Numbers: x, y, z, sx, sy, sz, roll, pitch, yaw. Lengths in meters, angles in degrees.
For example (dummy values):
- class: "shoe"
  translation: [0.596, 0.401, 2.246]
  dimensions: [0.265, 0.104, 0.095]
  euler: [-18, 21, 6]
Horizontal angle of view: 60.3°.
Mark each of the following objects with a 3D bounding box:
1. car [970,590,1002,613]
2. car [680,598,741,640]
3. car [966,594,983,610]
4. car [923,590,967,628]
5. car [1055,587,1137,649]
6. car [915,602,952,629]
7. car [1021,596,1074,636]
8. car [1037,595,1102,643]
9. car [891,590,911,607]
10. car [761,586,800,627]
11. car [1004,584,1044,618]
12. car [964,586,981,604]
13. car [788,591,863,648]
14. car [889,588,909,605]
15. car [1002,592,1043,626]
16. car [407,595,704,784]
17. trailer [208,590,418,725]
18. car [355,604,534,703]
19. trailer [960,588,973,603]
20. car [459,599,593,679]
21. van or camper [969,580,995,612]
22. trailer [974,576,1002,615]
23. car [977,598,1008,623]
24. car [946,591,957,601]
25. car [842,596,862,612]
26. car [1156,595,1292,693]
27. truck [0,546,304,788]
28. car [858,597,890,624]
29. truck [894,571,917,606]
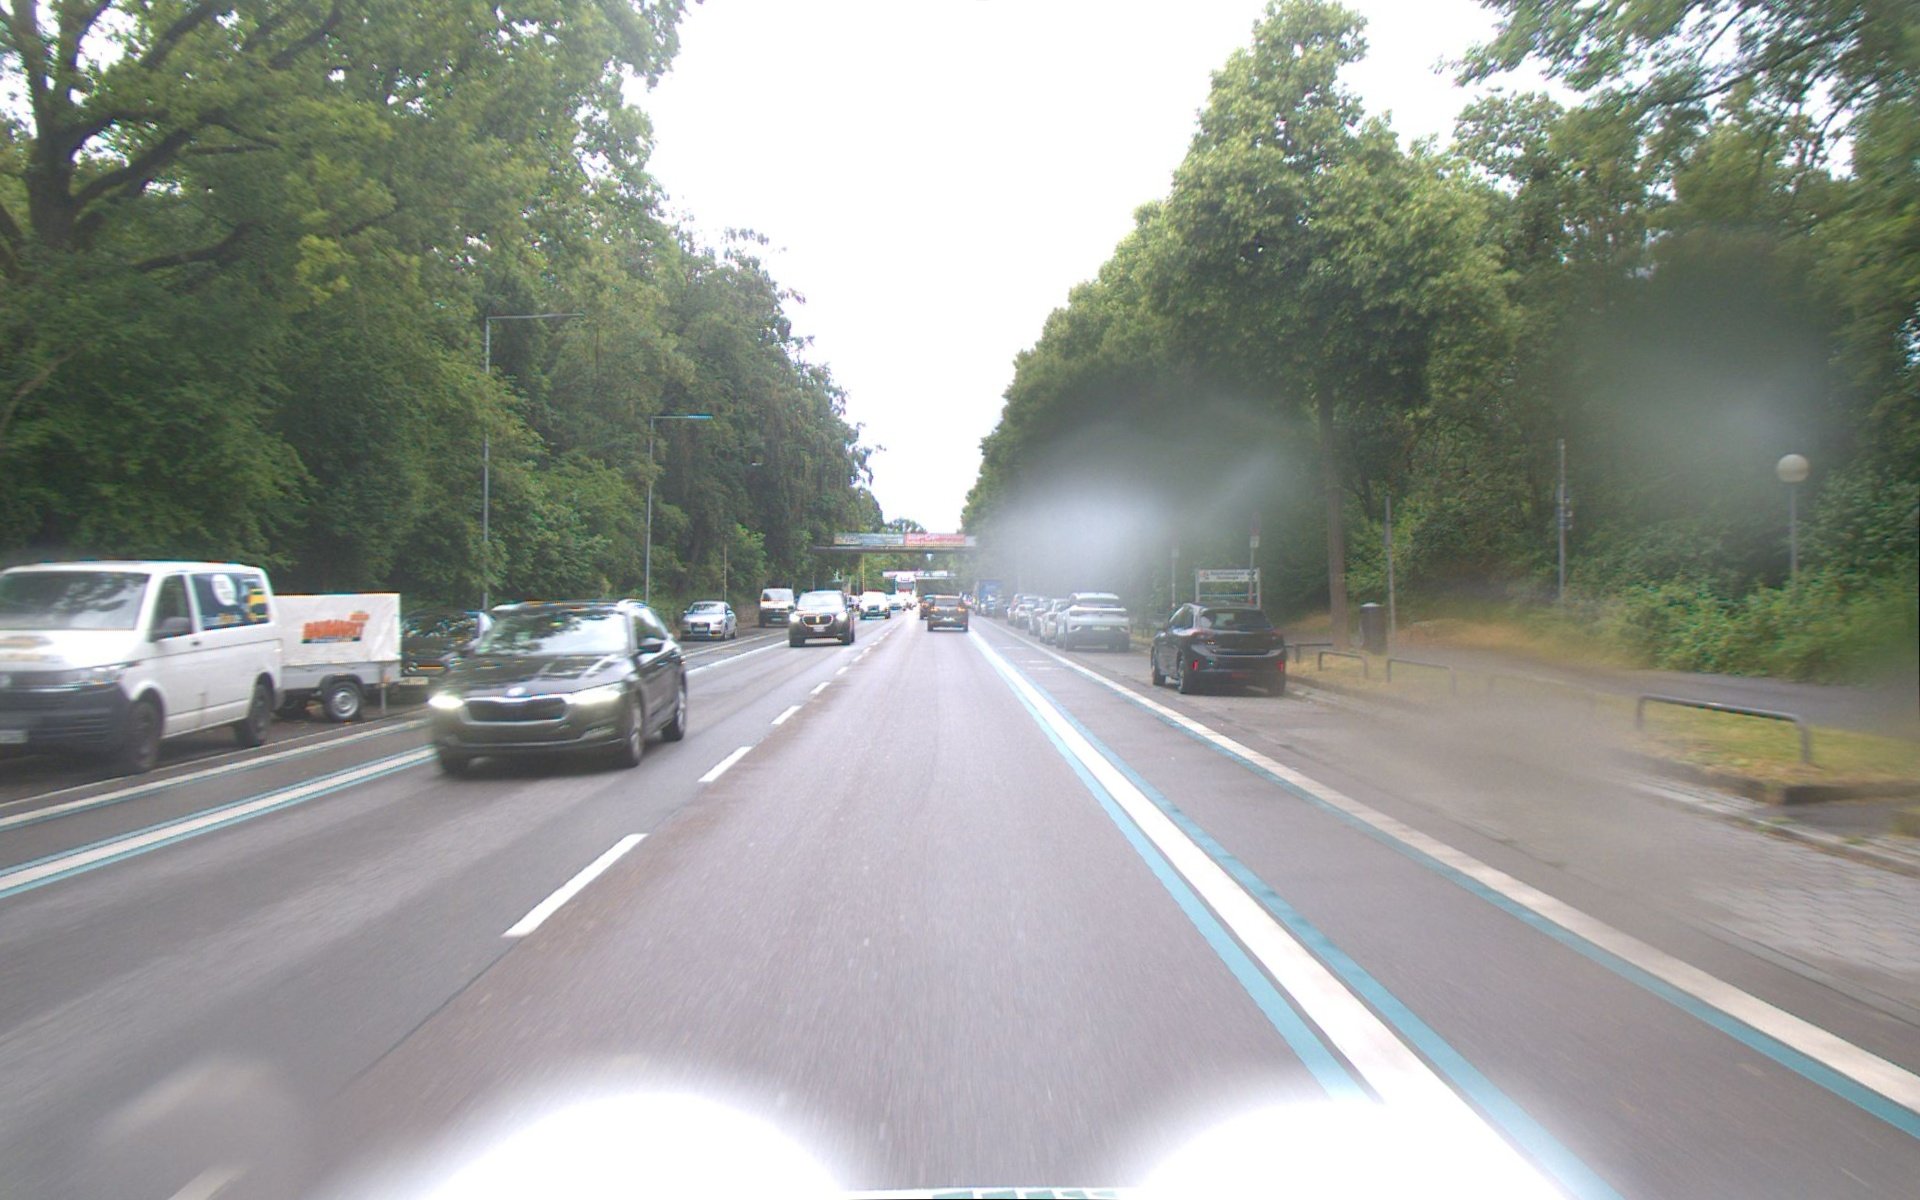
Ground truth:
- class: "car"
  translation: [1.798, 0.086, 116.007]
  dimensions: [1.862, 1.574, 4.752]
  euler: [1, 0, -3]
- class: "car"
  translation: [-9.272, 0.680, 61.767]
  dimensions: [1.655, 1.429, 4.027]
  euler: [1, 1, 0]
- class: "car"
  translation: [1.506, 0.195, 173.999]
  dimensions: [1.720, 1.617, 4.497]
  euler: [1, 0, -1]
- class: "car"
  translation: [-0.613, 0.367, 69.974]
  dimensions: [1.781, 1.534, 4.139]
  euler: [1, 0, 0]
- class: "car"
  translation: [3.866, 0.485, 47.666]
  dimensions: [1.953, 1.691, 4.562]
  euler: [0, 0, -1]
- class: "car"
  translation: [-1.646, 0.917, 101.085]
  dimensions: [2.097, 1.518, 4.496]
  euler: [1, 0, -3]
- class: "car"
  translation: [3.382, 0.610, 64.306]
  dimensions: [1.664, 1.479, 4.096]
  euler: [1, 0, -2]
- class: "car"
  translation: [3.535, 0.584, 53.873]
  dimensions: [1.664, 1.479, 3.944]
  euler: [1, 0, -2]
- class: "car"
  translation: [-5.817, -0.142, 163.365]
  dimensions: [1.921, 1.645, 4.465]
  euler: [-1, 0, -1]
- class: "car"
  translation: [-9.368, 0.315, 86.706]
  dimensions: [1.935, 2.040, 5.013]
  euler: [1, 0, -5]
- class: "car"
  translation: [3.230, 0.031, 83.694]
  dimensions: [1.718, 1.624, 4.739]
  euler: [0, 0, -1]
- class: "car"
  translation: [1.447, -0.560, 192.335]
  dimensions: [1.887, 2.057, 4.663]
  euler: [1, 0, -1]
- class: "car"
  translation: [-4.131, 0.565, 51.526]
  dimensions: [1.996, 1.678, 4.476]
  euler: [0, 0, -1]
- class: "car"
  translation: [-5.483, -0.305, 148.847]
  dimensions: [1.740, 1.491, 4.061]
  euler: [-2, 0, -2]
- class: "car"
  translation: [2.913, 0.400, 77.664]
  dimensions: [1.663, 1.540, 4.469]
  euler: [1, 0, 0]
- class: "car"
  translation: [-3.667, 0.733, 15.813]
  dimensions: [1.729, 1.483, 4.495]
  euler: [-2, 0, -1]
- class: "trailer"
  translation: [-8.545, 0.709, 21.920]
  dimensions: [1.325, 1.686, 2.257]
  euler: [0, 0, 37]
- class: "car"
  translation: [-8.266, 0.804, 26.927]
  dimensions: [1.785, 1.423, 4.442]
  euler: [0, 1, -4]
- class: "trailer"
  translation: [0.942, -0.646, 235.681]
  dimensions: [1.845, 2.204, 3.807]
  euler: [-1, 0, -1]
- class: "car"
  translation: [-8.731, 0.745, 33.625]
  dimensions: [1.719, 1.460, 4.355]
  euler: [-1, 1, -2]
- class: "van or camper"
  translation: [2.016, -0.371, 152.815]
  dimensions: [2.001, 2.777, 6.898]
  euler: [1, 0, -2]
- class: "trailer"
  translation: [2.035, -0.339, 121.822]
  dimensions: [1.913, 2.807, 4.006]
  euler: [0, 0, -1]
- class: "car"
  translation: [2.112, 0.649, 107.106]
  dimensions: [1.788, 1.529, 4.569]
  euler: [1, 0, -1]
- class: "car"
  translation: [-1.294, -0.607, 252.993]
  dimensions: [1.696, 1.611, 4.036]
  euler: [-1, 0, -1]
- class: "car"
  translation: [-10.677, 0.411, 162.935]
  dimensions: [1.917, 1.488, 4.753]
  euler: [0, 1, -4]
- class: "car"
  translation: [4.350, 0.676, 27.742]
  dimensions: [1.660, 1.502, 3.998]
  euler: [0, 0, 0]
- class: "truck"
  translation: [-8.495, 0.549, 16.555]
  dimensions: [2.051, 2.049, 5.156]
  euler: [0, 0, -3]
- class: "car"
  translation: [-5.430, 0.647, 104.790]
  dimensions: [1.914, 1.667, 4.443]
  euler: [-1, 1, -2]
- class: "truck"
  translation: [-6.666, -1.413, 202.118]
  dimensions: [2.468, 4.117, 4.912]
  euler: [-2, 0, -4]
